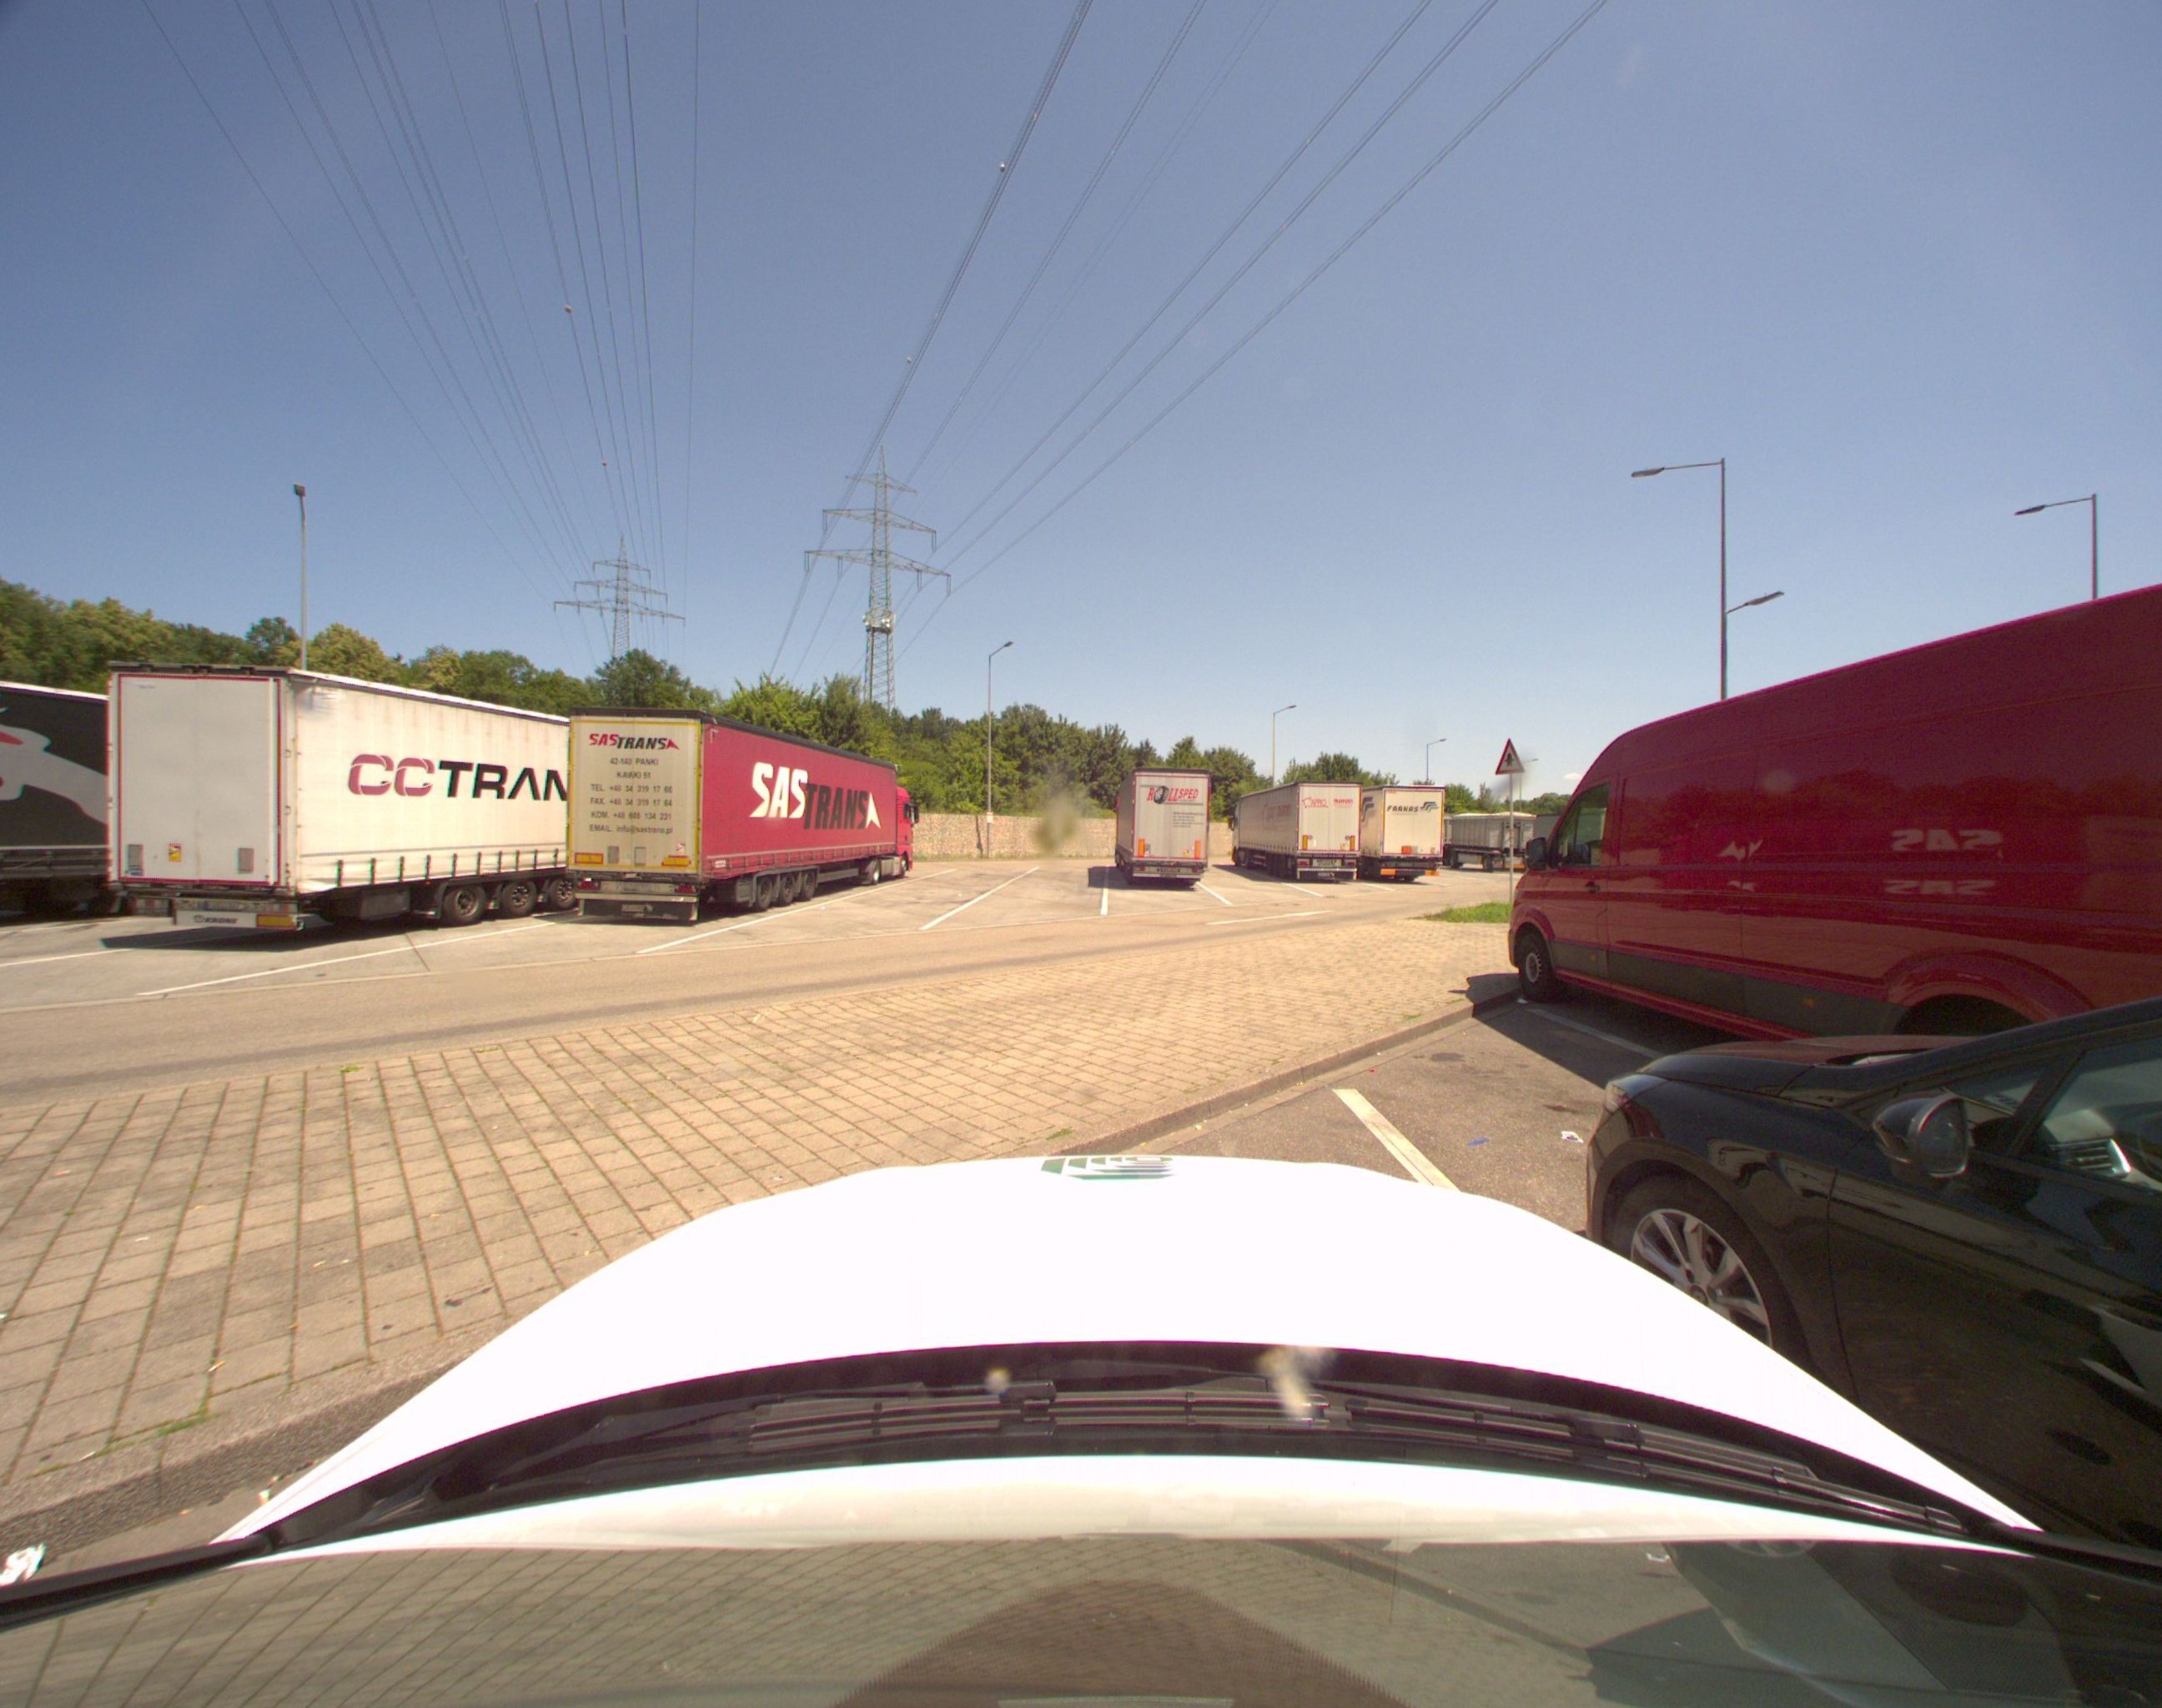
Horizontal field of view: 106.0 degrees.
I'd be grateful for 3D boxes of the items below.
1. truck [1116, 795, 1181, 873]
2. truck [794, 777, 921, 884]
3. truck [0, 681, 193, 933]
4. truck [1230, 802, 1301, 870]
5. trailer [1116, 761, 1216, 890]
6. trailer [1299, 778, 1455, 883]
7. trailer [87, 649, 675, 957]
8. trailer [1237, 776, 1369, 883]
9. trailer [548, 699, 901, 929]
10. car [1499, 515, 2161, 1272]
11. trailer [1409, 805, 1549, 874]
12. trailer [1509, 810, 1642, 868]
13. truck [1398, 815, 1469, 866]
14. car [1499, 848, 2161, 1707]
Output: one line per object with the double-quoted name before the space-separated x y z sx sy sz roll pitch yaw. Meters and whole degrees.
"truck" 3.185 -0.979 39.916 2.841 3.483 5.486 1 1 2
"truck" -7.784 -0.828 29.101 2.841 3.427 5.486 1 1 2
"truck" -18.565 -0.797 13.572 2.692 4.016 4.326 1 2 2
"truck" 10.181 -1.018 45.440 2.841 3.483 5.486 1 1 2
"trailer" 3.041 -1.094 33.303 2.896 4.132 13.727 1 2 1
"trailer" 13.629 -1.111 39.292 2.828 4.132 13.730 1 2 2
"trailer" -12.189 -0.884 16.336 2.718 4.209 10.175 1 2 2
"trailer" 9.972 -1.144 38.629 2.828 4.132 13.730 1 2 2
"trailer" -8.023 -0.947 21.665 2.896 4.131 13.731 1 2 2
"car" 5.175 0.092 5.496 2.055 2.695 6.405 -1 1 6
"trailer" 24.550 -0.989 51.458 2.826 3.717 13.737 1 2 3
"trailer" 38.393 -1.222 64.141 2.826 4.049 13.737 1 2 3
"truck" 24.939 -0.997 57.956 2.840 3.364 5.488 1 1 3
"car" 2.532 0.758 1.186 1.733 1.482 3.813 -1 1 -3
